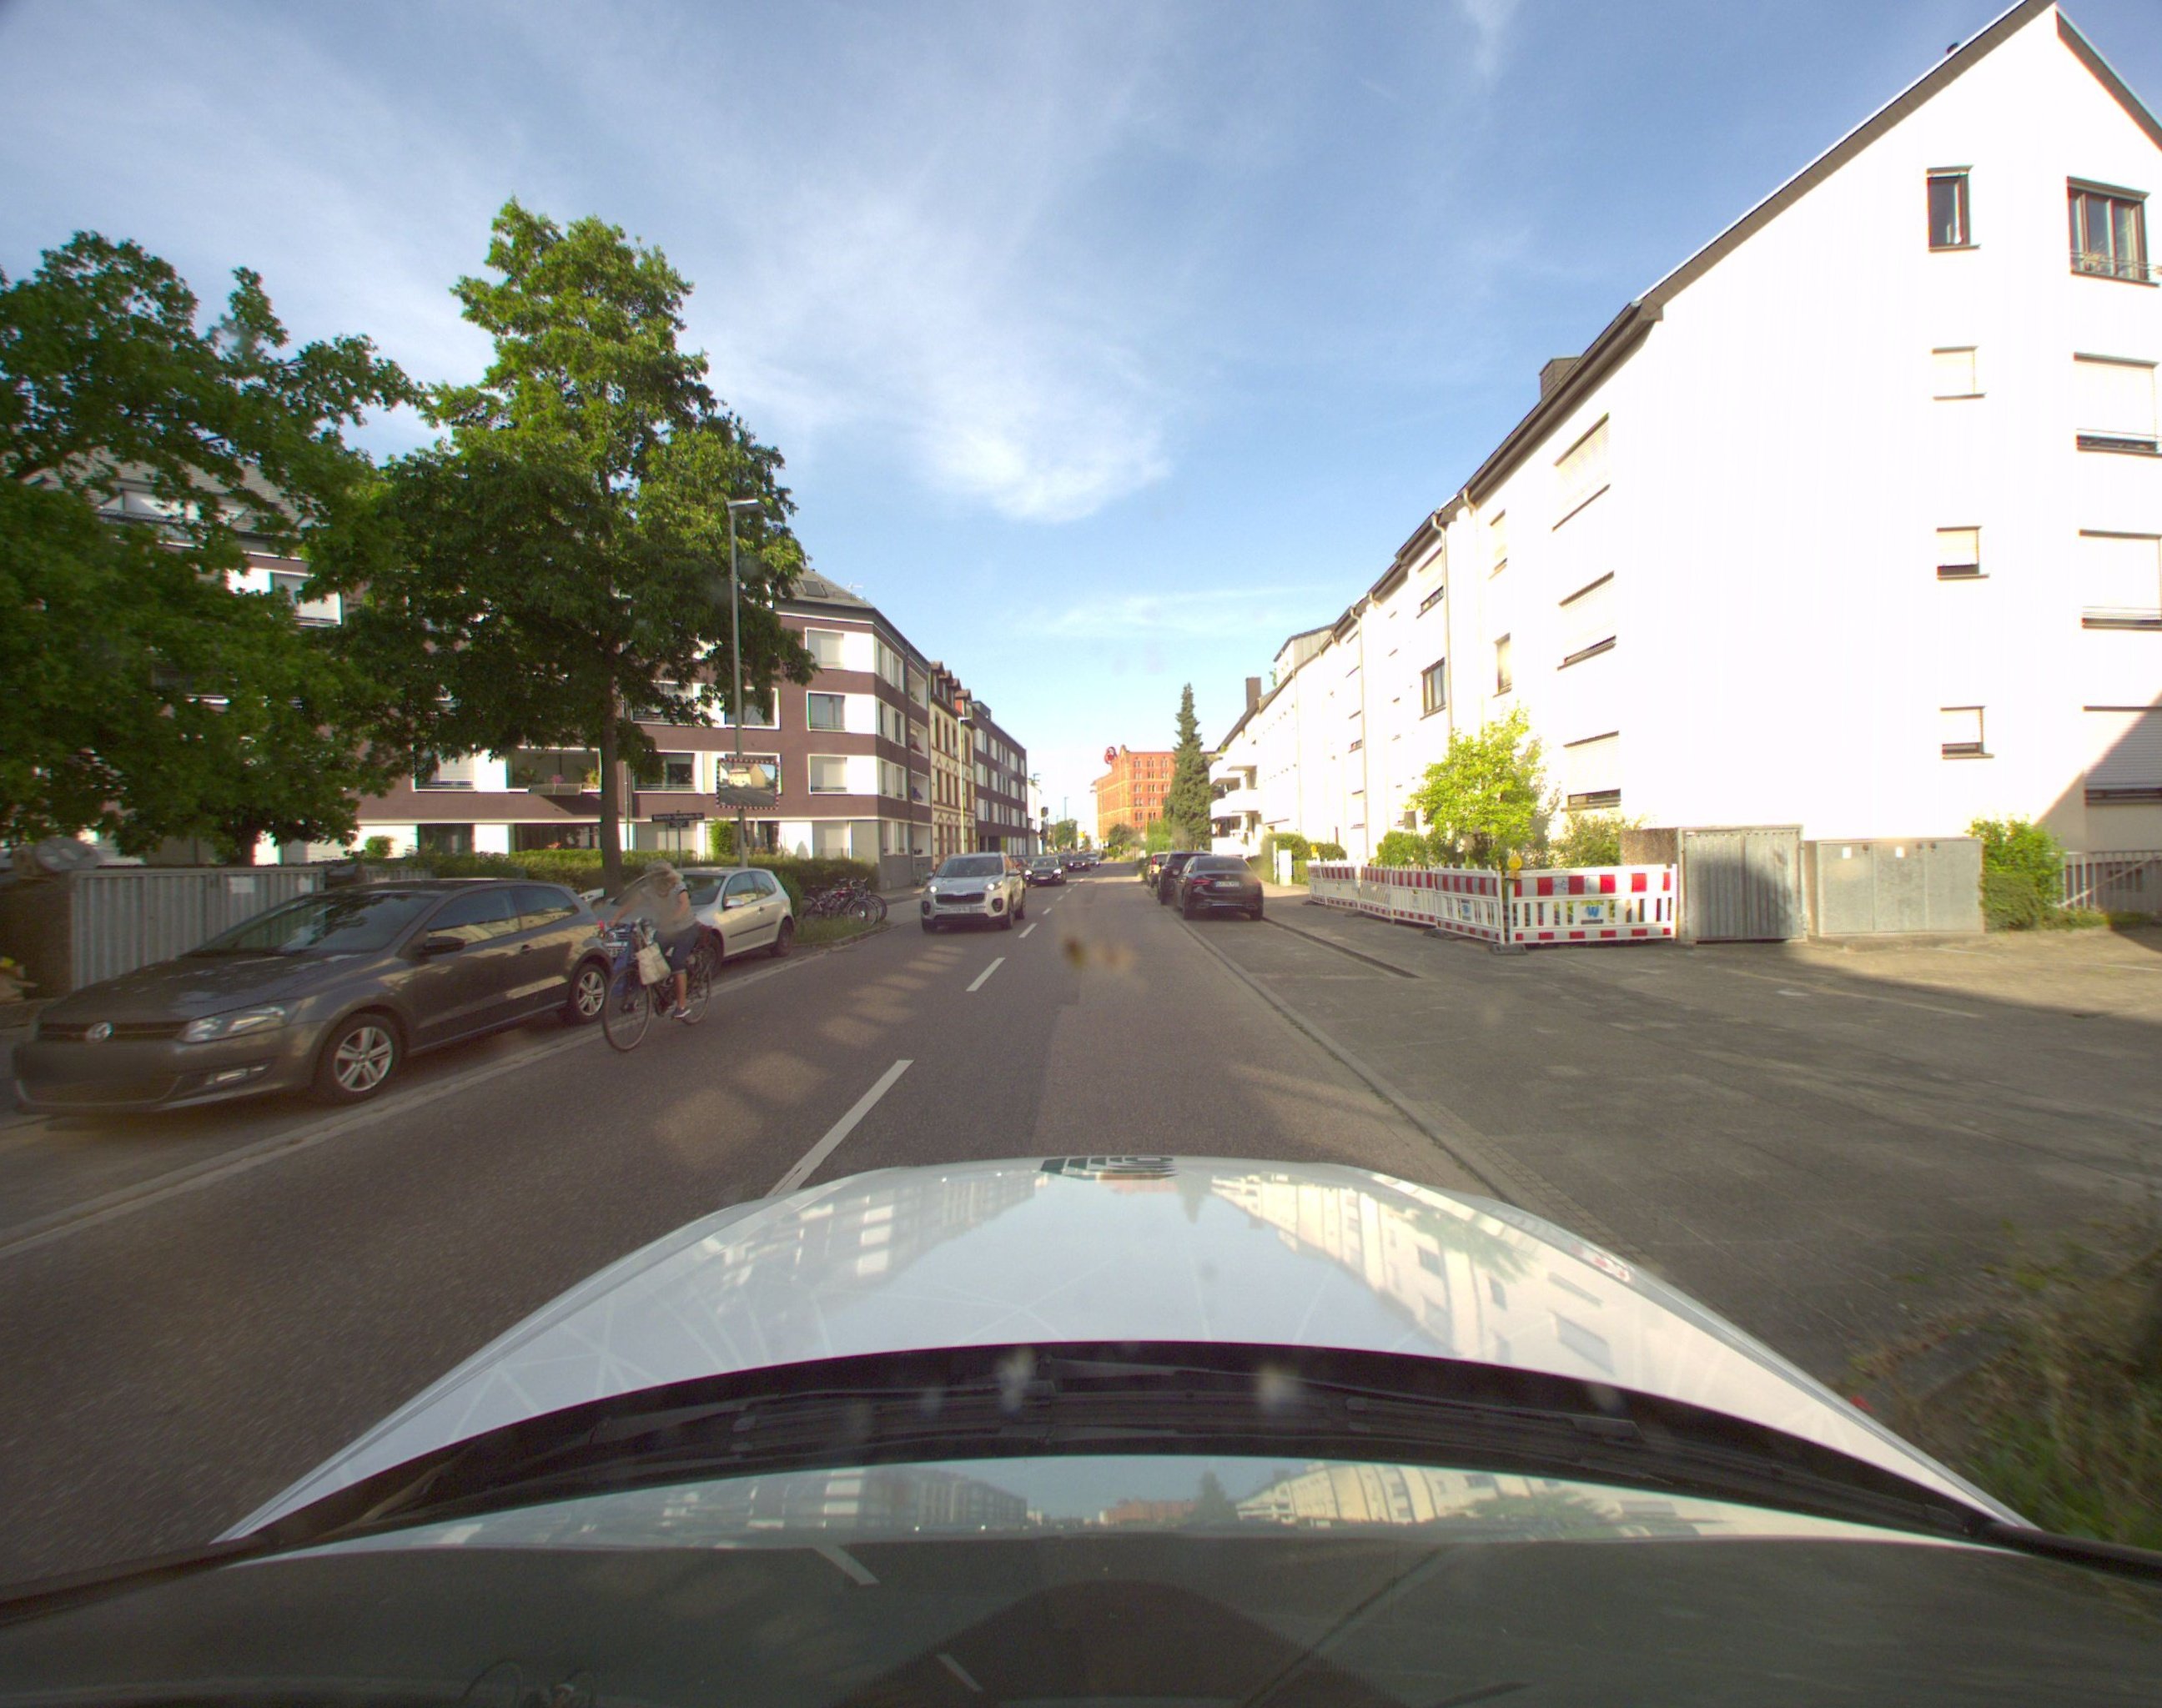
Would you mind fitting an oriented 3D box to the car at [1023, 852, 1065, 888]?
[{"bbox_3d":[-1.775,0.765,40.493,1.757,1.616,4.001,-2,0,1],"label":"car"}]

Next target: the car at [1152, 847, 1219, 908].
[{"bbox_3d":[3.082,0.660,24.667,1.596,1.646,3.686,-2,0,1],"label":"car"}]

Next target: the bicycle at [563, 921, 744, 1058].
[{"bbox_3d":[-3.796,1.159,7.424,0.606,0.942,1.812,-1,0,3],"label":"bicycle"}]

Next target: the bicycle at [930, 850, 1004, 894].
[{"bbox_3d":[-4.876,0.772,35.000,2.906,1.777,1.203,-2,0,2],"label":"bicycle"}]

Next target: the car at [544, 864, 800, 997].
[{"bbox_3d":[-5.609,0.945,11.802,1.671,1.501,3.999,-1,0,0],"label":"car"}]

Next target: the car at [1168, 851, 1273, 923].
[{"bbox_3d":[3.226,0.719,19.584,1.852,1.472,4.001,-2,0,1],"label":"car"}]

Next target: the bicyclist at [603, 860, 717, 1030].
[{"bbox_3d":[-3.807,0.790,7.407,0.588,1.442,0.751,-2,0,2],"label":"bicyclist"}]

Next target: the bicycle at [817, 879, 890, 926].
[{"bbox_3d":[-5.498,1.164,19.755,1.582,1.041,0.707,-2,0,-4],"label":"bicycle"}]

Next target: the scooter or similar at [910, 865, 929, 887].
[{"bbox_3d":[-8.443,1.139,42.564,0.631,1.103,1.611,0,0,2],"label":"scooter or similar"}]

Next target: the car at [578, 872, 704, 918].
[{"bbox_3d":[-14.226,1.287,26.389,3.469,1.288,1.648,-2,0,-31],"label":"car"}]

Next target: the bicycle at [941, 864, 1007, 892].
[{"bbox_3d":[-4.816,1.084,36.769,2.762,1.144,1.144,-2,0,2],"label":"bicycle"}]

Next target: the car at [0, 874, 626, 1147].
[{"bbox_3d":[-5.511,0.928,6.482,1.568,1.420,3.804,-1,0,1],"label":"car"}]

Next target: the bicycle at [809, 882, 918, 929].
[{"bbox_3d":[-5.045,1.195,19.035,2.335,0.970,0.707,-2,0,-5],"label":"bicycle"}]

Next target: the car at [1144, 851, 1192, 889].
[{"bbox_3d":[3.819,0.662,36.384,1.757,1.526,4.001,-3,0,1],"label":"car"}]

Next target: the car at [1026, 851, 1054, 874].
[{"bbox_3d":[-3.538,0.752,70.744,1.986,1.882,4.002,-2,0,2],"label":"car"}]

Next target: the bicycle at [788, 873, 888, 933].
[{"bbox_3d":[-5.403,1.078,18.164,1.997,1.217,0.707,-2,0,-5],"label":"bicycle"}]

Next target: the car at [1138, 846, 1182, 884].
[{"bbox_3d":[3.973,0.527,41.424,1.986,1.772,4.002,-1,0,2],"label":"car"}]

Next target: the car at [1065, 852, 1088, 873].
[{"bbox_3d":[-0.324,0.712,68.474,1.757,1.616,4.001,-2,0,1],"label":"car"}]

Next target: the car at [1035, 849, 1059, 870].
[{"bbox_3d":[-3.344,0.561,80.866,1.986,2.013,4.002,-2,0,2],"label":"car"}]

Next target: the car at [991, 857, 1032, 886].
[{"bbox_3d":[-3.776,0.936,44.807,1.833,1.464,3.586,-2,0,2],"label":"car"}]

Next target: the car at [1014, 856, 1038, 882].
[{"bbox_3d":[-3.326,0.877,49.561,1.069,1.464,3.586,-2,0,2],"label":"car"}]

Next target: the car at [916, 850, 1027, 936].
[{"bbox_3d":[-2.294,0.771,18.050,1.757,1.616,4.001,-2,0,1],"label":"car"}]

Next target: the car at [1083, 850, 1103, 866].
[{"bbox_3d":[1.326,0.439,87.767,1.986,1.596,4.002,-2,0,2],"label":"car"}]
